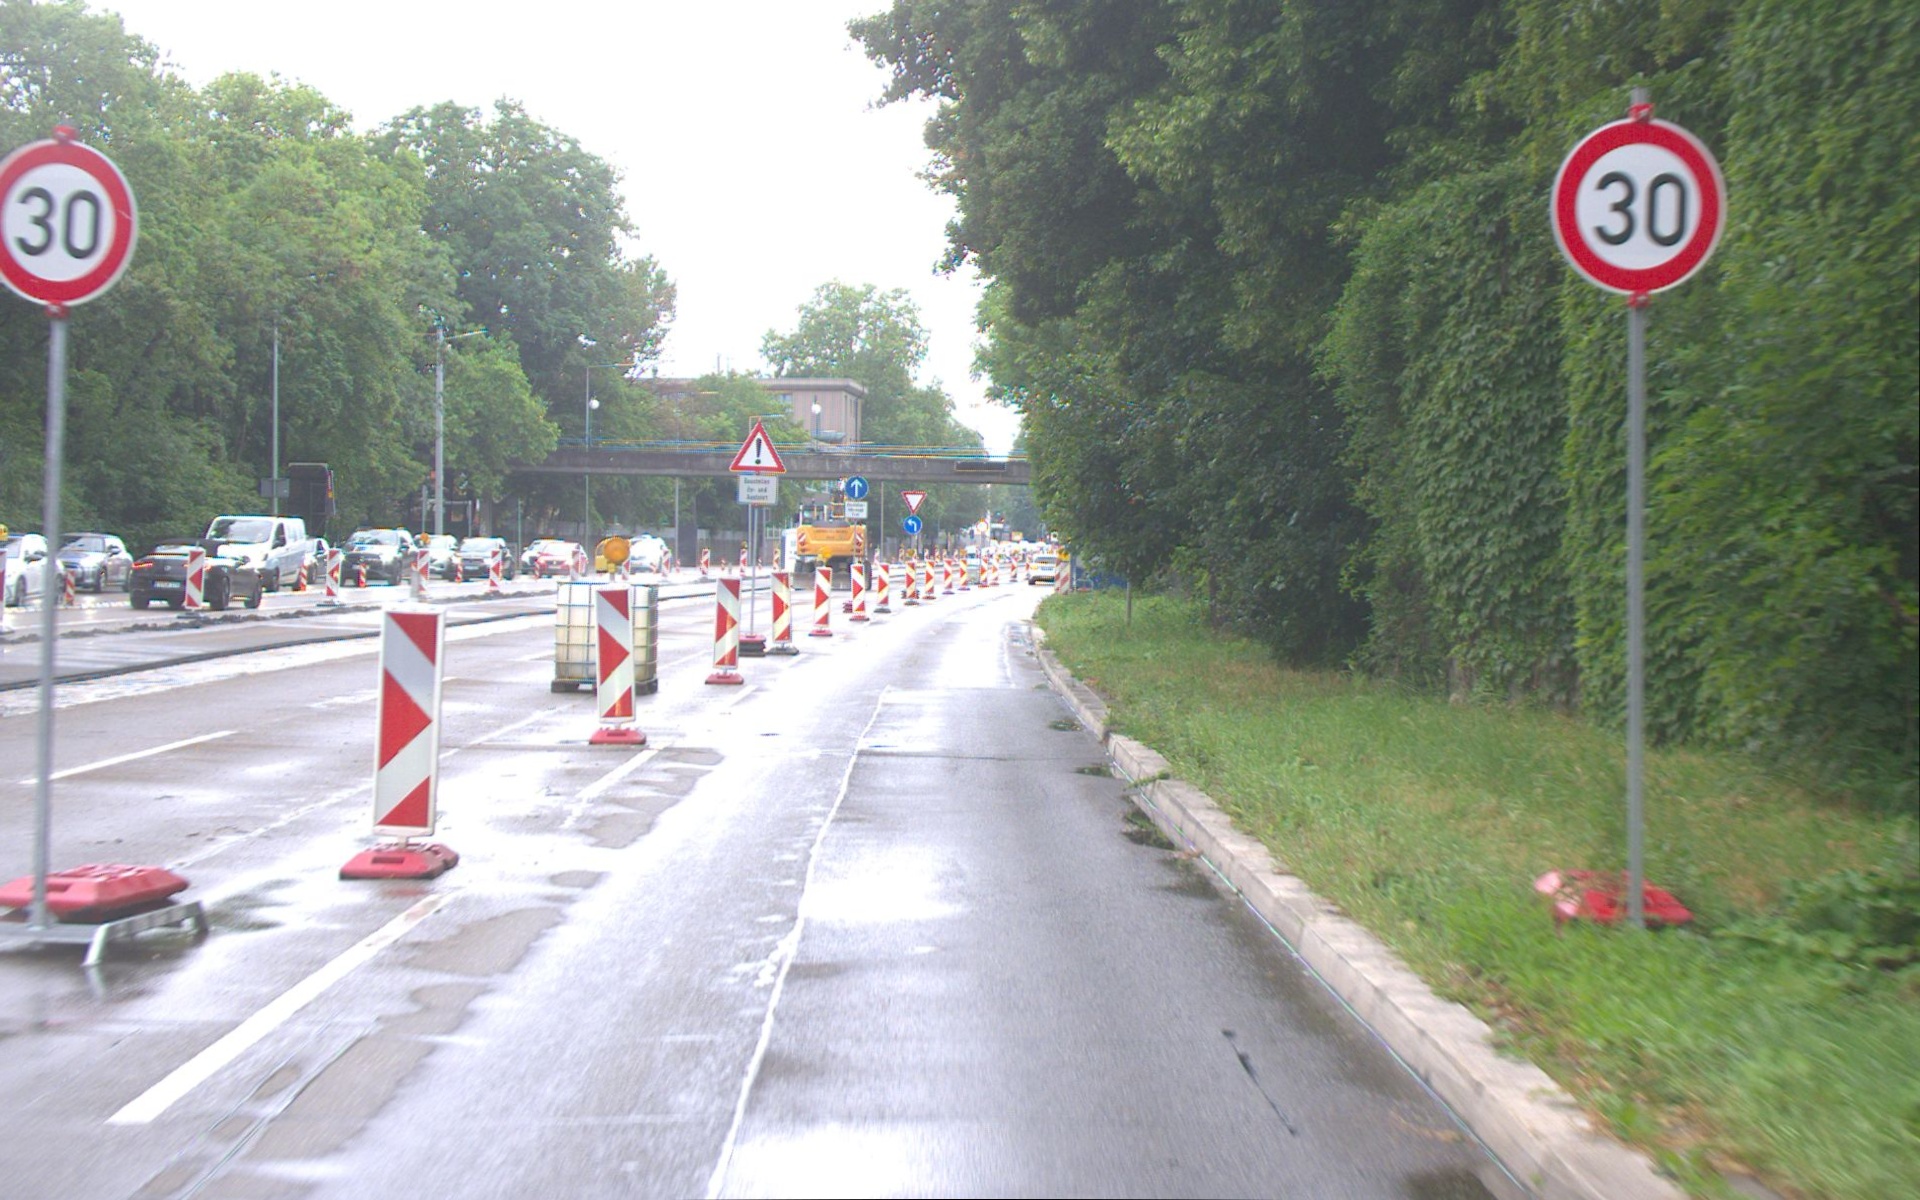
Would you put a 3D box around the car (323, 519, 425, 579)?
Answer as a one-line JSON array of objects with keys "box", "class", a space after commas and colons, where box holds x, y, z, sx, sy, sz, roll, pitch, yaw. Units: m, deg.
[{"box": [-17.737, -1.554, 104.355, 2.021, 1.719, 5.012, 2, 1, 2], "class": "car"}]

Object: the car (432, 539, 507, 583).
[{"box": [-17.232, -1.389, 120.923, 1.776, 1.482, 4.196, 2, 1, 3], "class": "car"}]

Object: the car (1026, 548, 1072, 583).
[{"box": [4.231, -1.632, 162.350, 1.994, 1.634, 4.000, 0, 1, 4], "class": "car"}]

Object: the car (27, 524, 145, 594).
[{"box": [-21.063, -0.995, 83.006, 1.827, 1.616, 4.000, 1, 1, 0], "class": "car"}]

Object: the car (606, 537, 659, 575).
[{"box": [-15.119, -2.037, 159.100, 1.890, 1.655, 4.893, 2, 1, 1], "class": "car"}]

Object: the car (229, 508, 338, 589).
[{"box": [-17.410, -1.337, 88.678, 1.993, 1.965, 4.903, 2, 1, -2], "class": "car"}]

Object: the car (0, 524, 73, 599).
[{"box": [-18.735, -0.749, 66.454, 1.993, 1.411, 4.393, 0, 1, 1], "class": "car"}]

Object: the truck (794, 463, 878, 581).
[{"box": [-4.673, -2.954, 131.486, 2.897, 4.244, 10.757, 2, 1, -1], "class": "truck"}]
